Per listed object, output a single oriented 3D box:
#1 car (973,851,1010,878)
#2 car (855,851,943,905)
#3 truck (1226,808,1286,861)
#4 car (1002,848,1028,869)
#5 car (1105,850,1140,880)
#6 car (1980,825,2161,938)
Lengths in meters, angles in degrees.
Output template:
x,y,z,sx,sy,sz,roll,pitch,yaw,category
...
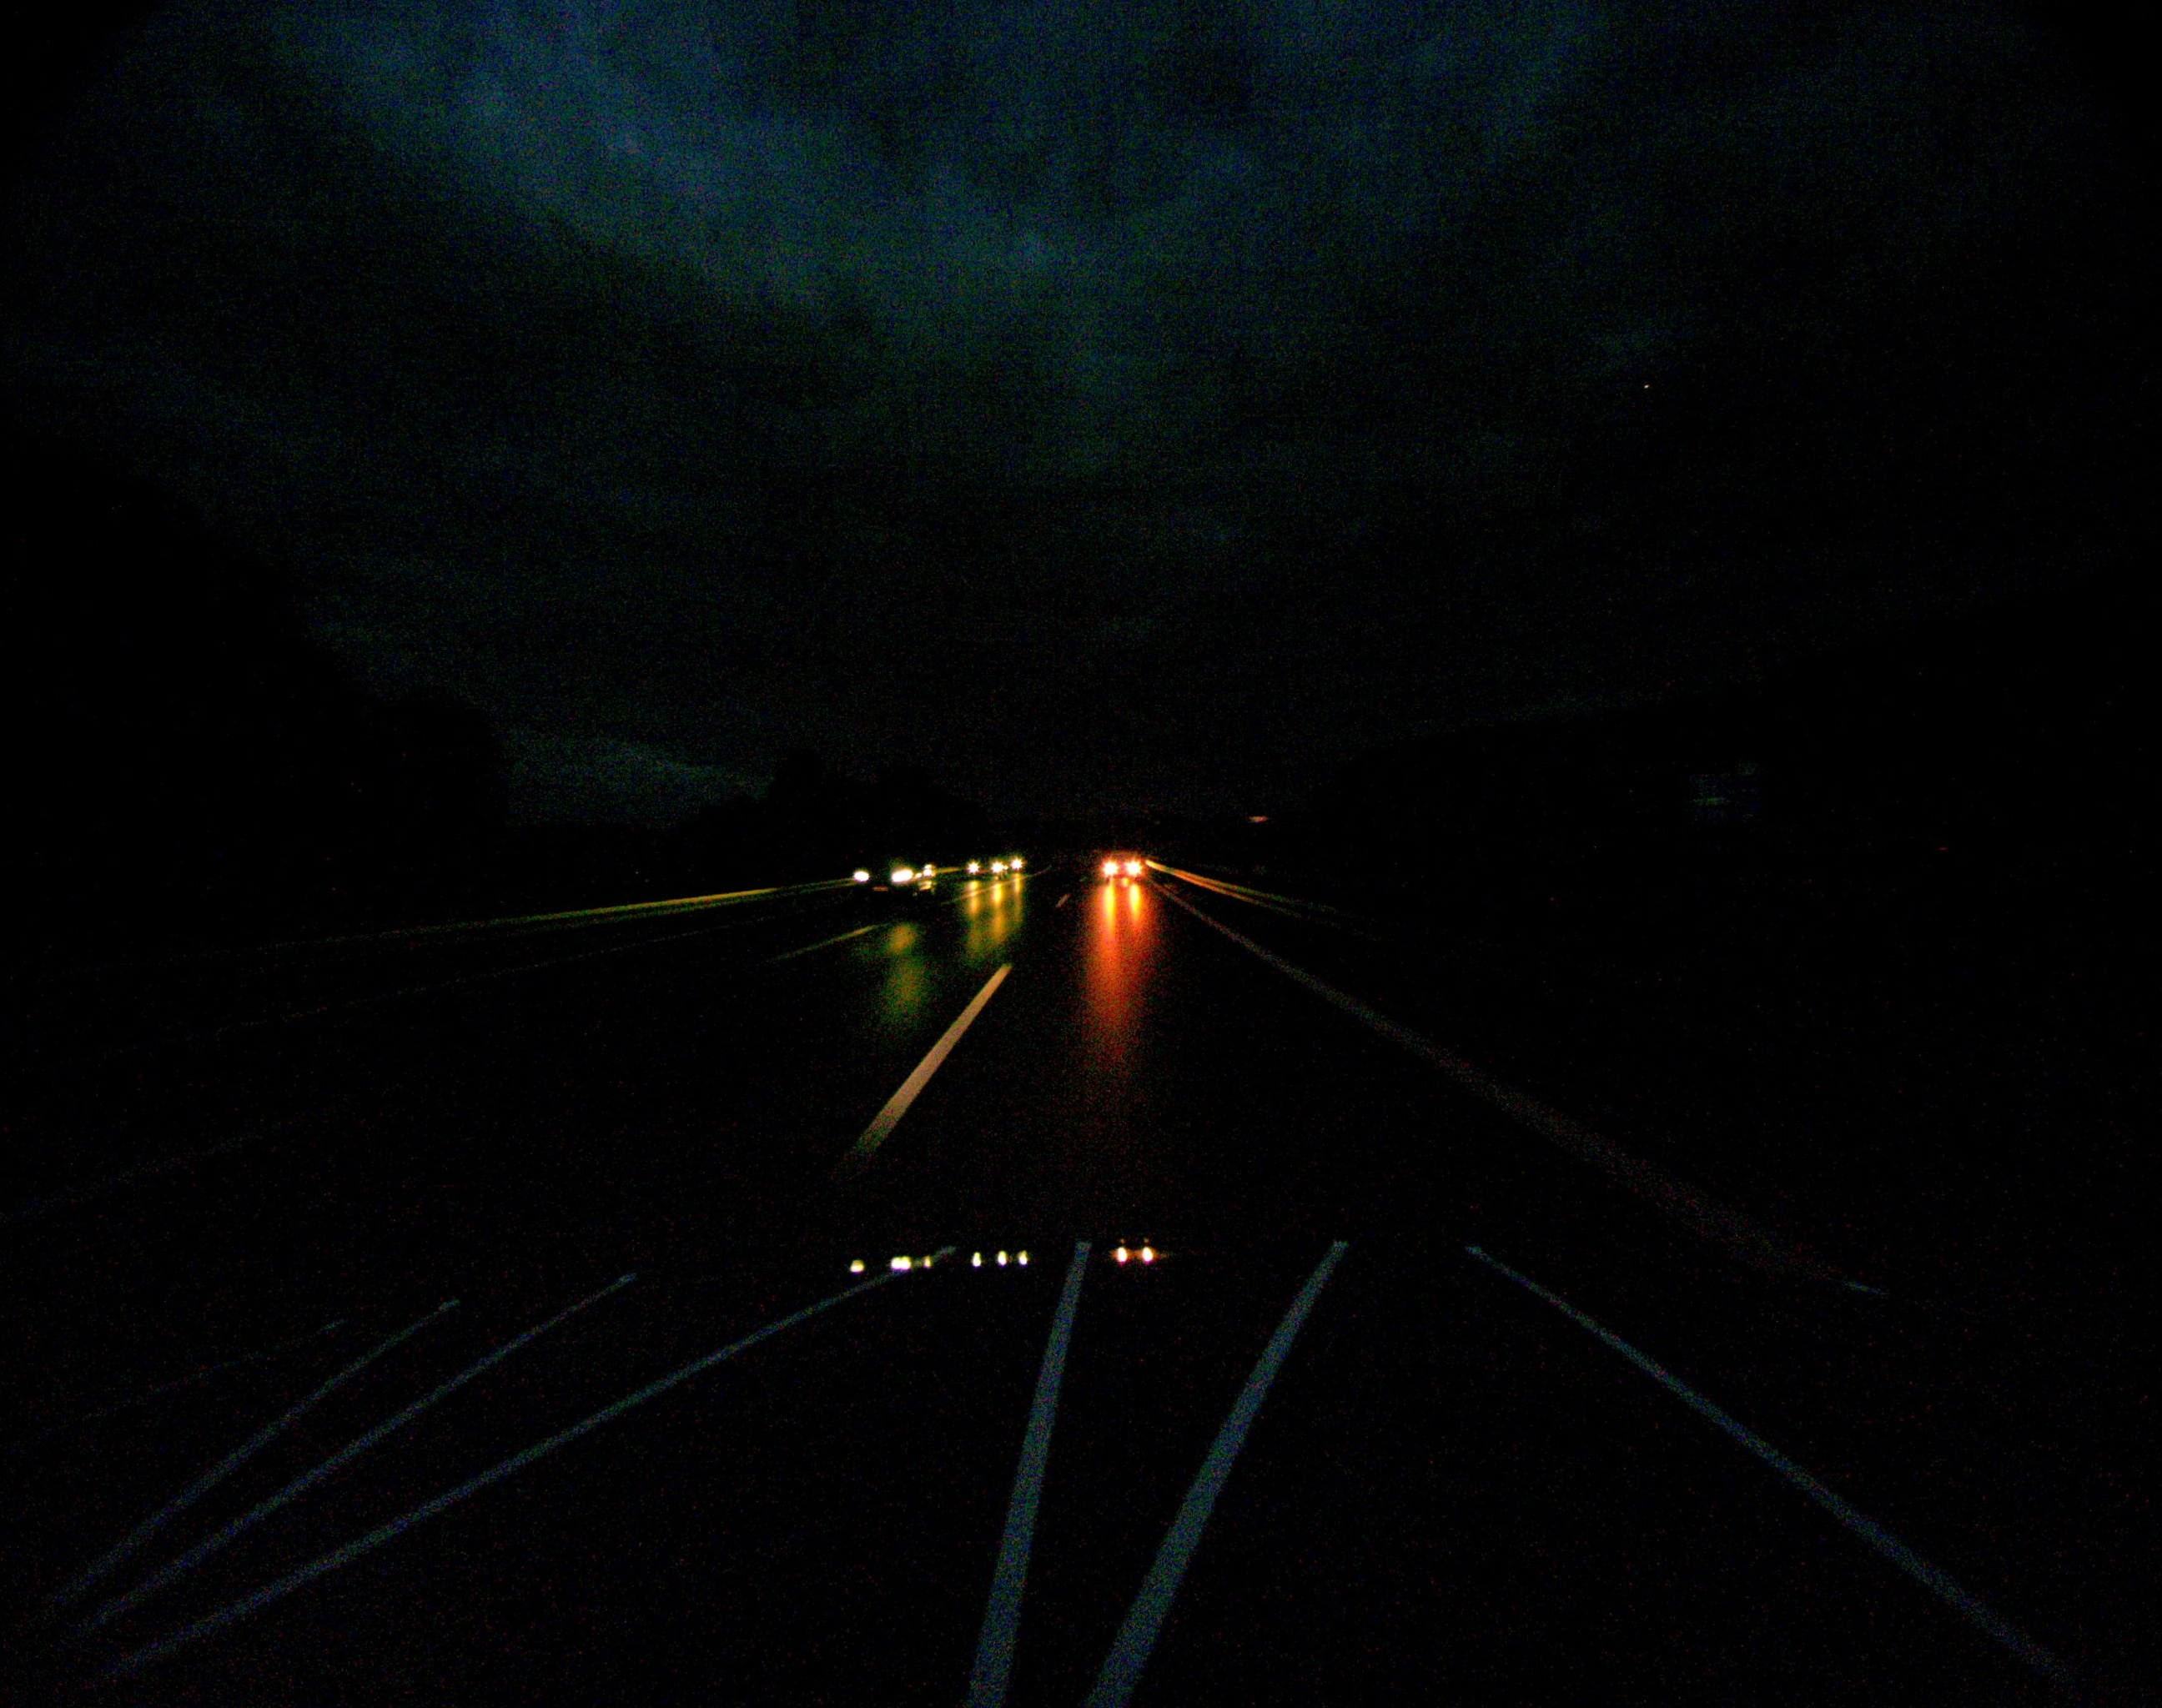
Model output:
x,y,z,sx,sy,sz,roll,pitch,yaw,category
-5.331,0.595,45.906,1.803,1.483,5.115,-1,1,-2,car
-6.151,0.735,26.334,1.802,1.636,5.159,0,1,0,car
15.457,-1.700,67.857,3.046,4.277,9.889,-1,1,0,truck
-5.293,0.355,61.549,1.803,1.483,4.434,-4,1,-2,car
2.242,0.578,41.809,1.669,1.551,3.756,-2,1,0,car
15.905,0.367,10.409,1.876,1.552,4.519,-1,1,1,car
